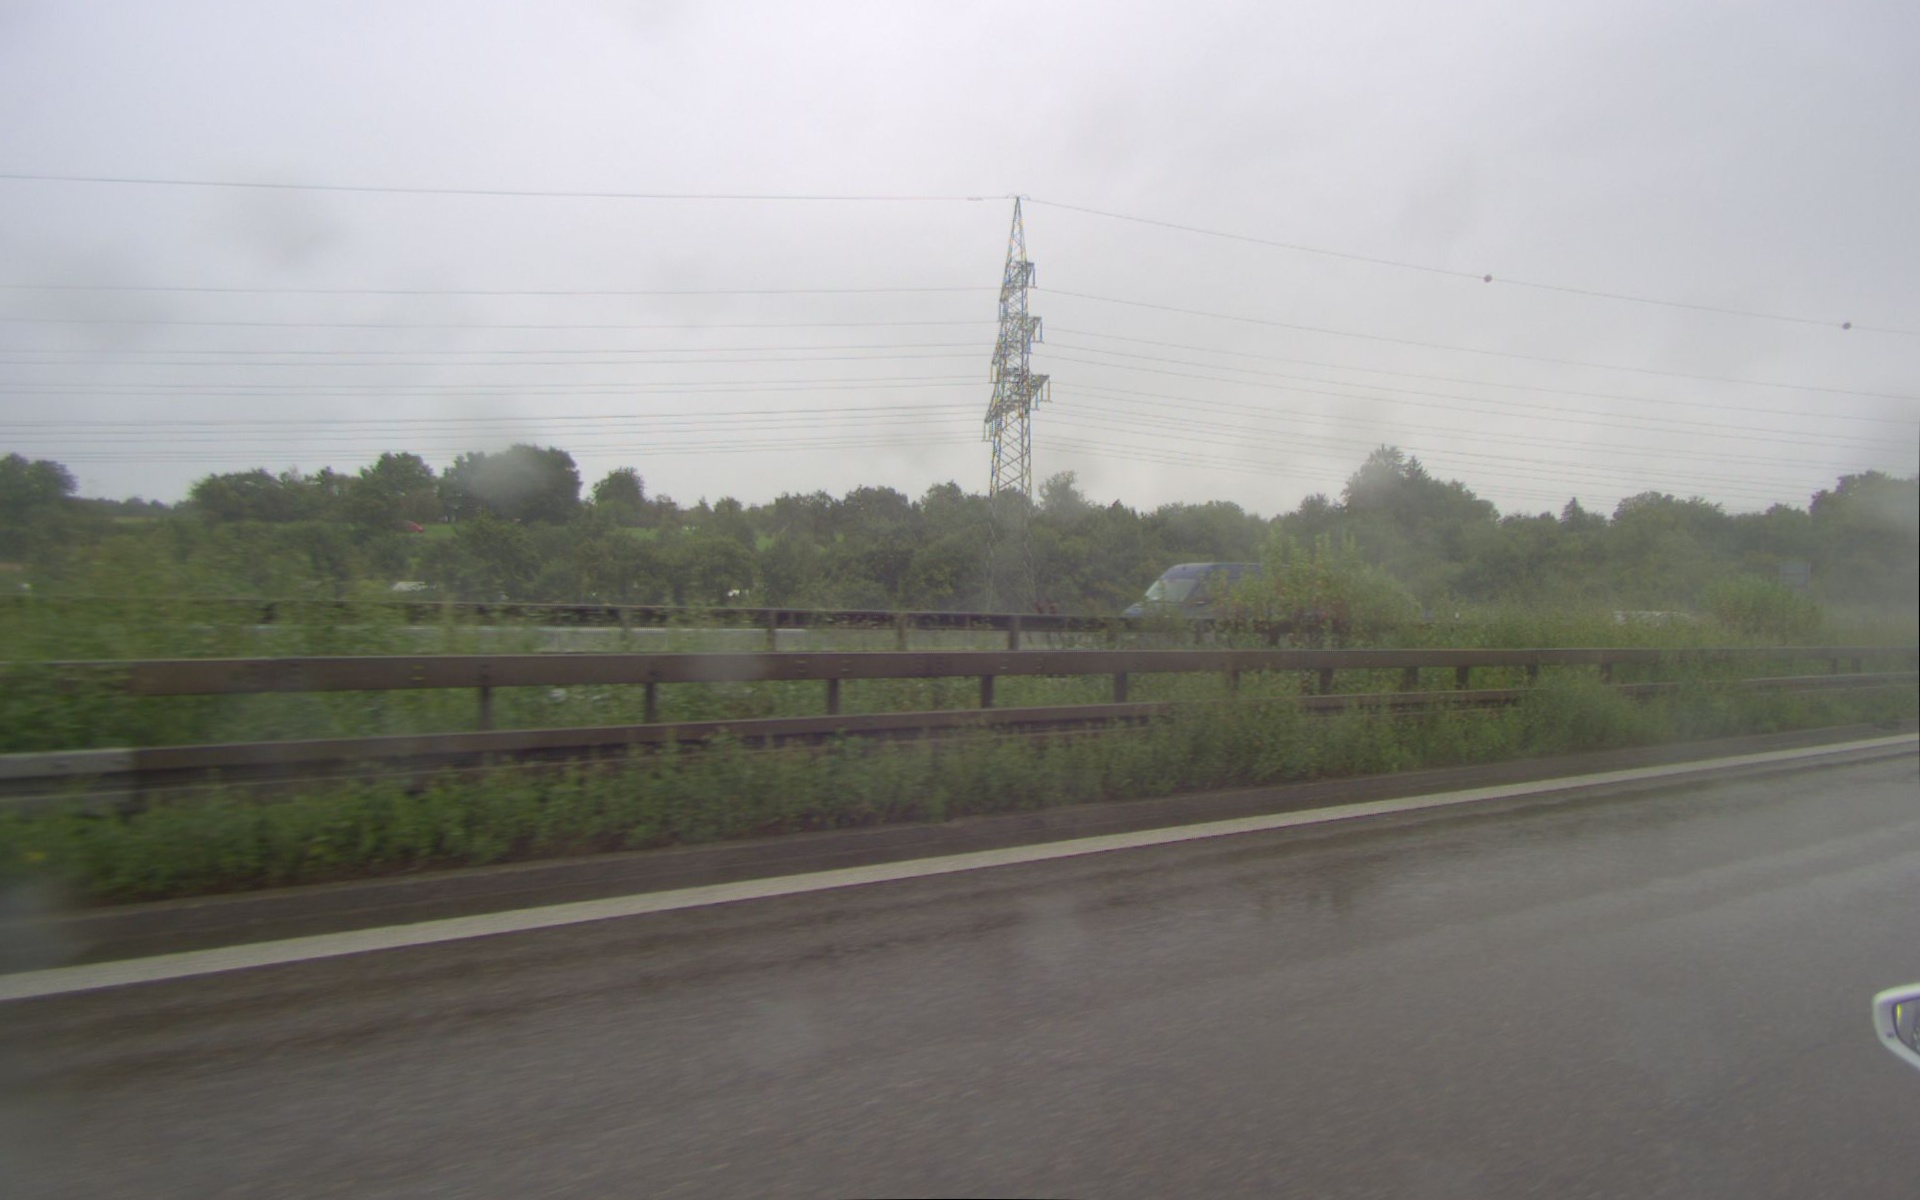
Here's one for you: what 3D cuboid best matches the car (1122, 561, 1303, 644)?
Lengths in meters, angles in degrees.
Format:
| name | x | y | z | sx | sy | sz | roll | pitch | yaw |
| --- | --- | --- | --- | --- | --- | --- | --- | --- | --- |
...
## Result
| name | x | y | z | sx | sy | sz | roll | pitch | yaw |
| --- | --- | --- | --- | --- | --- | --- | --- | --- | --- |
| car | 6.906 | 0.066 | 27.306 | 4.778 | 2.041 | 1.811 | 1 | 3 | -30 |
